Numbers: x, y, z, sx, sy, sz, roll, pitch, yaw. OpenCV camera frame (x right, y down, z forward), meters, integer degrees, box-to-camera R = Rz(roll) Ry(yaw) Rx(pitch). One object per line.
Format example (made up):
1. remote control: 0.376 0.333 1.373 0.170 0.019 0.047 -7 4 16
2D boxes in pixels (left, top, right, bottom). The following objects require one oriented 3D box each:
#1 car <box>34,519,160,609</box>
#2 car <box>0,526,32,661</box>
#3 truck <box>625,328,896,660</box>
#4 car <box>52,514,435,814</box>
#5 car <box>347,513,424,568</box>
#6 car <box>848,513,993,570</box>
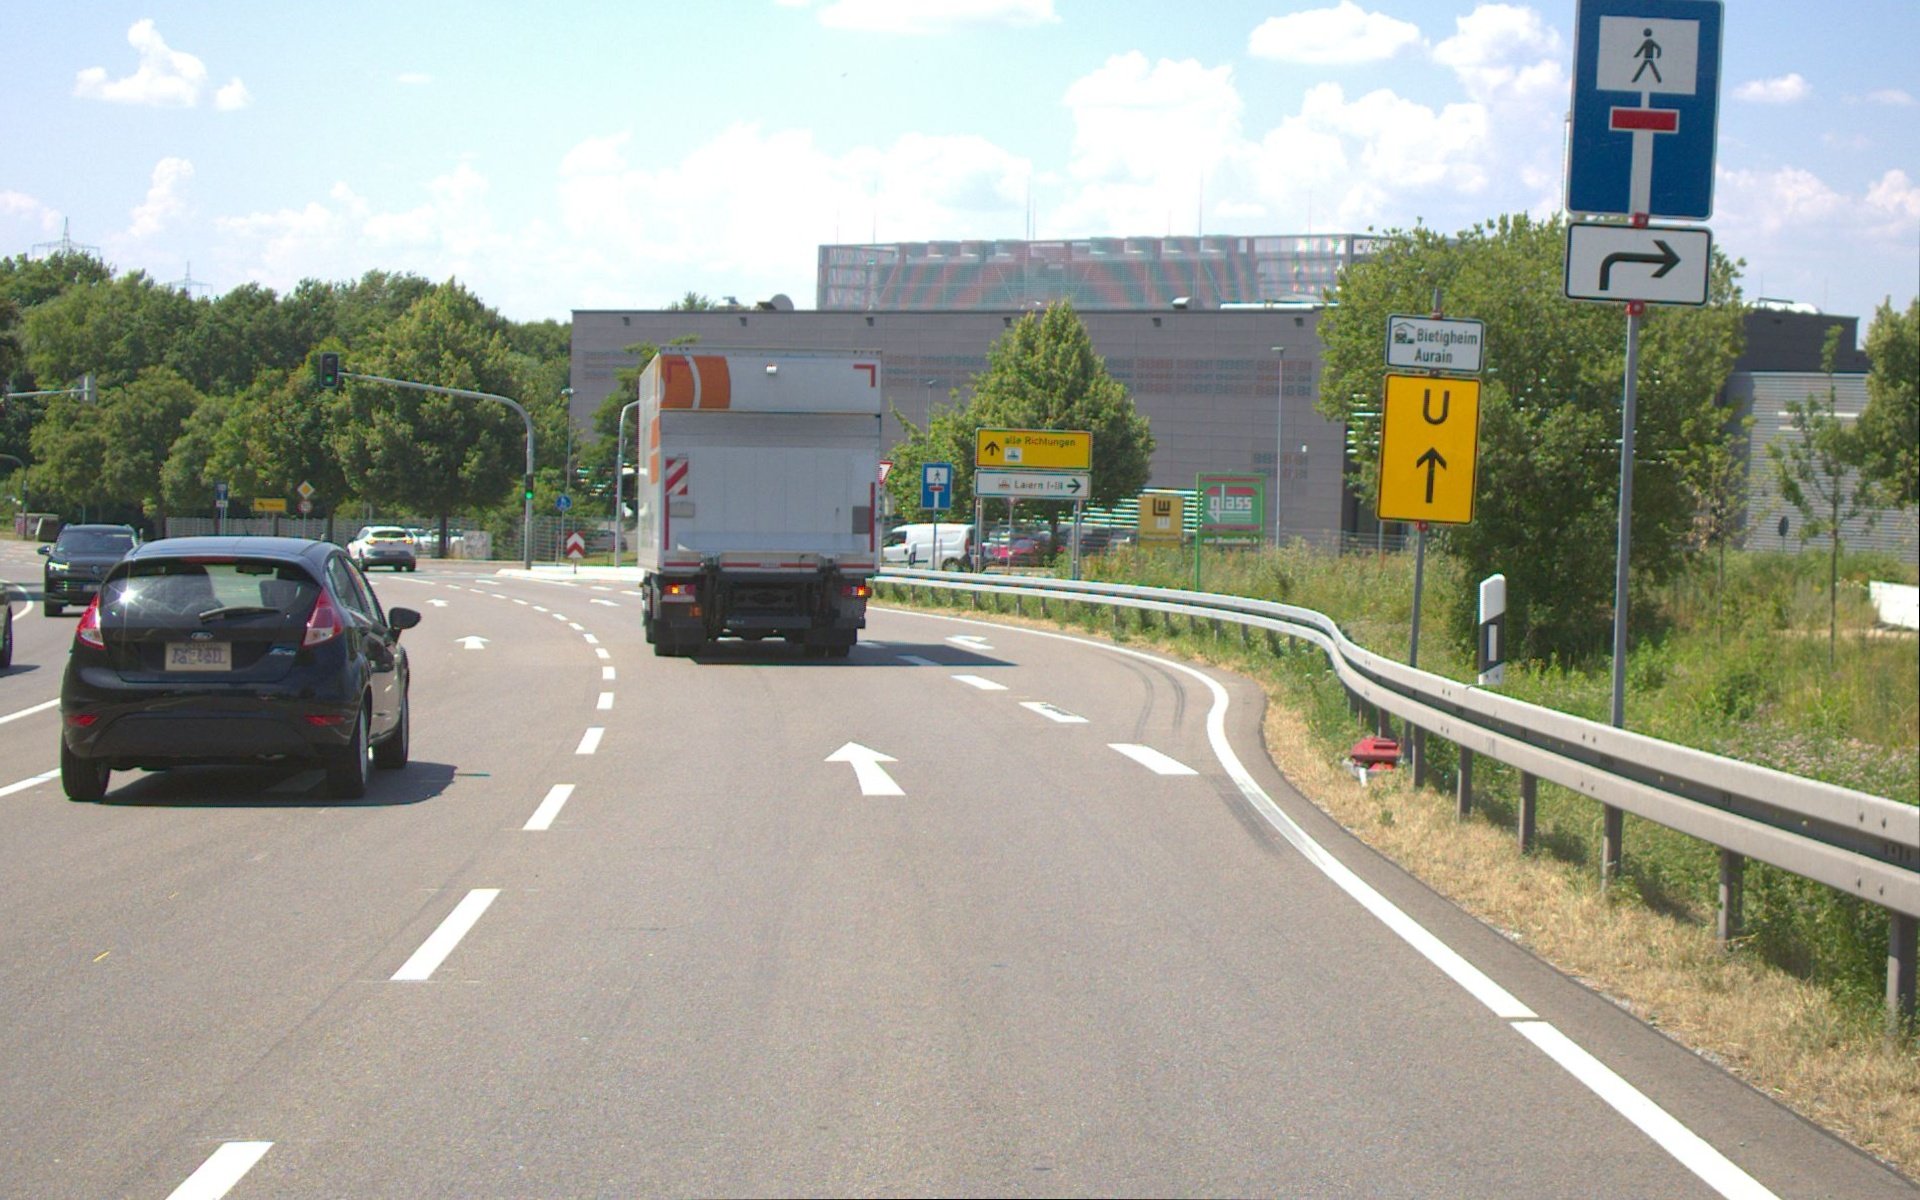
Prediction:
1. car: -15.772 -0.691 62.997 1.993 1.587 4.684 0 1 -11
2. car: -11.166 -0.078 36.771 1.816 1.437 4.645 0 1 -8
3. truck: -2.690 -1.356 43.377 2.803 3.698 9.110 1 2 -7
4. car: -4.167 0.294 20.549 1.653 1.488 4.209 1 3 -4
5. car: -19.313 -2.001 115.471 1.943 1.658 4.002 3 1 -17
6. car: -1.383 -2.066 121.243 4.747 1.925 2.152 1 1 12
